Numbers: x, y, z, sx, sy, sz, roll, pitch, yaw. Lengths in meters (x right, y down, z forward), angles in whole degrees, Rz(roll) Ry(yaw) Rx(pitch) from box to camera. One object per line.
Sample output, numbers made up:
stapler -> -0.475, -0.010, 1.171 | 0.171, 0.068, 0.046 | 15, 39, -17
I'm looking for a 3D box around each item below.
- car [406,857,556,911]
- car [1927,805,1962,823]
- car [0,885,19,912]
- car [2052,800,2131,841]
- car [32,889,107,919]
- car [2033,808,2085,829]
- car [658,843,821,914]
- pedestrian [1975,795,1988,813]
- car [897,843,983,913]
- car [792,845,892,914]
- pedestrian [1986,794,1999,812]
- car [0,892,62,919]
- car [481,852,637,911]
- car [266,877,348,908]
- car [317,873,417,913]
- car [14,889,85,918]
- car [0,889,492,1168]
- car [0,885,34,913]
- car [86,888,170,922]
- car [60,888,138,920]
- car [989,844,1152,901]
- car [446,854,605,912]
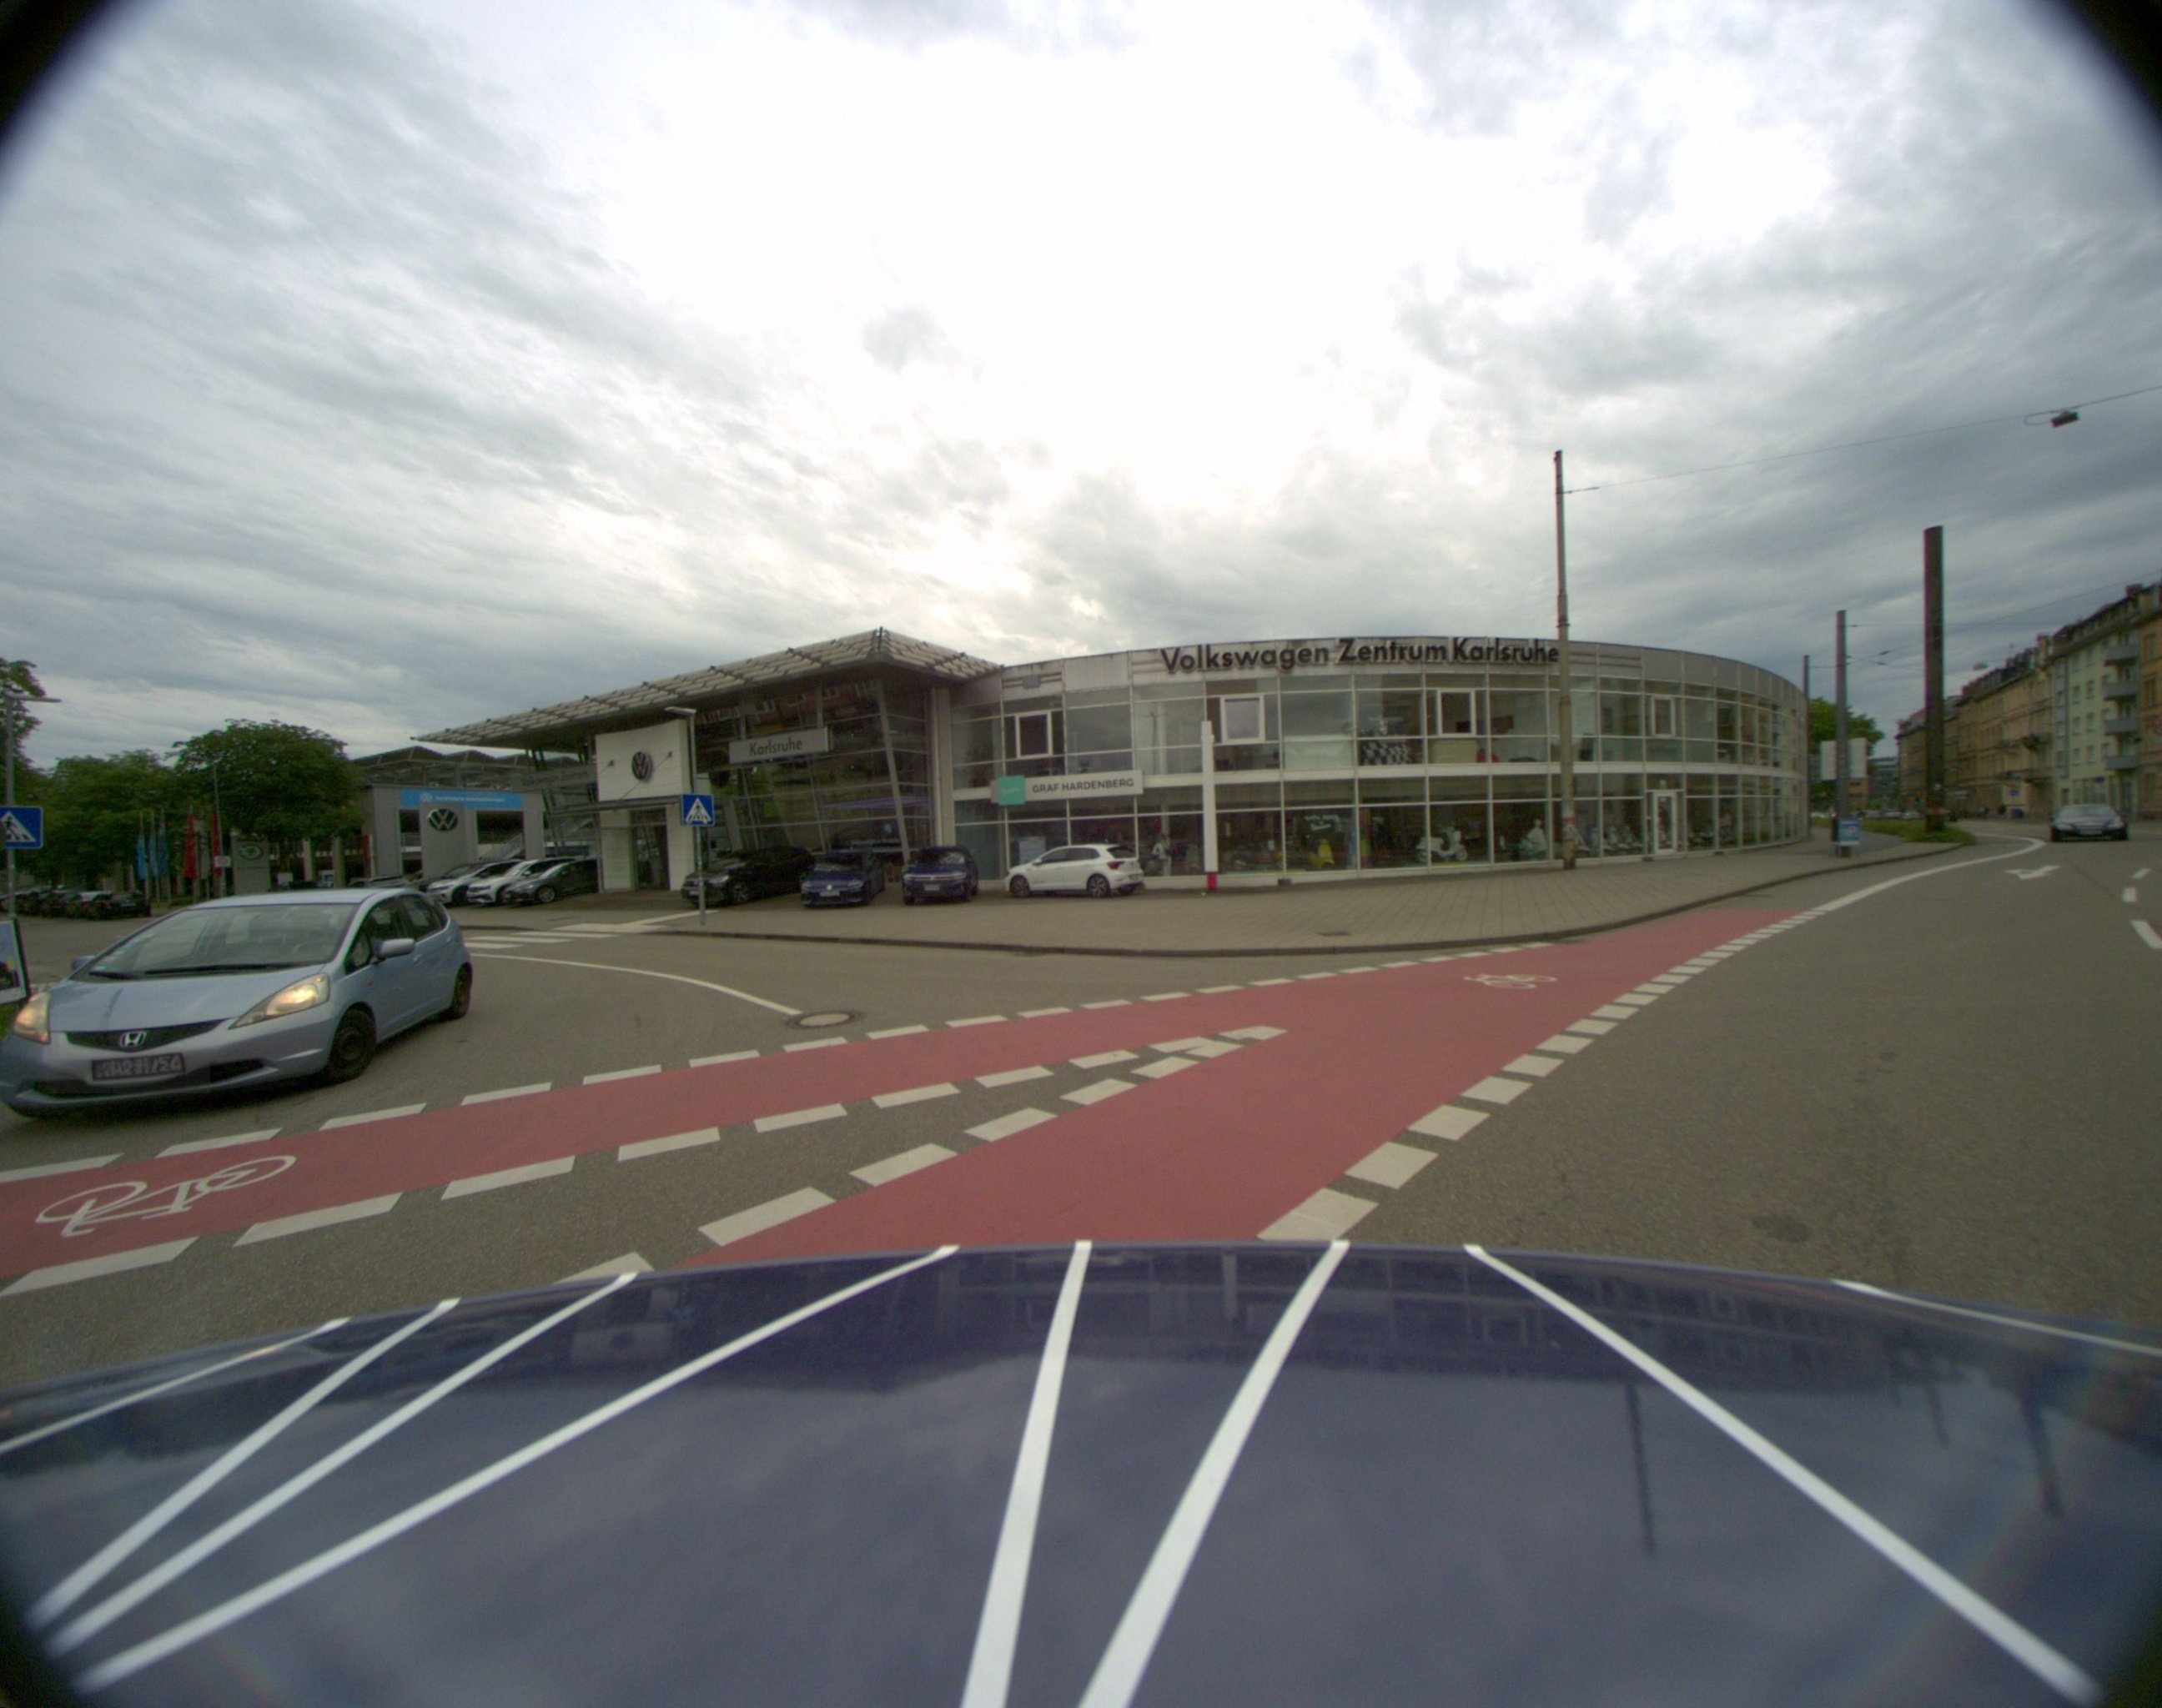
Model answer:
car -> -25.383, 1.228, 32.321 | 1.865, 1.691, 4.480 | -2, 4, 29
car -> 86.544, -4.000, 76.204 | 1.798, 1.631, 4.238 | -1, 2, 42
car -> -86.863, 3.593, 60.341 | 4.771, 1.975, 2.026 | -2, 3, 26
car -> 38.201, -1.280, 28.738 | 4.076, 1.413, 1.711 | -3, 2, -37
car -> -62.223, 3.058, 46.733 | 4.464, 1.615, 1.863 | -2, 3, 26
car -> 73.853, -2.685, 57.426 | 1.849, 1.472, 3.835 | -1, 2, 44
car -> -10.620, 0.706, 24.054 | 1.857, 1.624, 4.513 | -3, 4, 23
pedestrian -> 99.870, -5.543, 84.267 | 0.808, 2.002, 0.701 | -1, 2, 41
car -> -3.922, 0.599, 21.816 | 1.901, 1.554, 4.216 | -3, 4, -4
car -> -6.821, 0.648, 22.189 | 1.858, 1.496, 4.333 | -3, 4, -6
pedestrian -> 100.534, -5.636, 83.808 | 0.808, 2.002, 0.879 | -1, 2, 41
car -> -70.964, 3.437, 51.190 | 4.464, 1.615, 1.863 | -2, 3, 26
car -> -20.251, 1.029, 29.715 | 1.893, 1.688, 4.480 | -3, 4, 28
car -> -44.303, 2.181, 43.495 | 4.464, 1.539, 1.901 | -2, 3, 26
car -> -32.505, 1.783, 34.600 | 4.005, 1.555, 1.922 | -3, 2, 26
car -> -66.566, 3.190, 49.026 | 4.464, 1.615, 1.863 | -2, 3, 26
car -> -7.021, 1.186, 6.751 | 1.756, 1.458, 4.090 | -3, 1, -23
car -> -81.787, 3.436, 57.673 | 4.464, 1.975, 1.863 | -2, 3, 26
car -> -52.356, 2.751, 41.741 | 4.464, 1.615, 1.863 | -2, 3, 26
car -> -57.500, 2.905, 44.480 | 4.464, 1.615, 1.863 | -2, 3, 26
car -> -0.334, 0.536, 21.530 | 4.251, 1.444, 1.786 | -2, 1, 31
car -> -22.575, 1.129, 31.130 | 1.856, 1.691, 4.780 | -2, 4, 29
